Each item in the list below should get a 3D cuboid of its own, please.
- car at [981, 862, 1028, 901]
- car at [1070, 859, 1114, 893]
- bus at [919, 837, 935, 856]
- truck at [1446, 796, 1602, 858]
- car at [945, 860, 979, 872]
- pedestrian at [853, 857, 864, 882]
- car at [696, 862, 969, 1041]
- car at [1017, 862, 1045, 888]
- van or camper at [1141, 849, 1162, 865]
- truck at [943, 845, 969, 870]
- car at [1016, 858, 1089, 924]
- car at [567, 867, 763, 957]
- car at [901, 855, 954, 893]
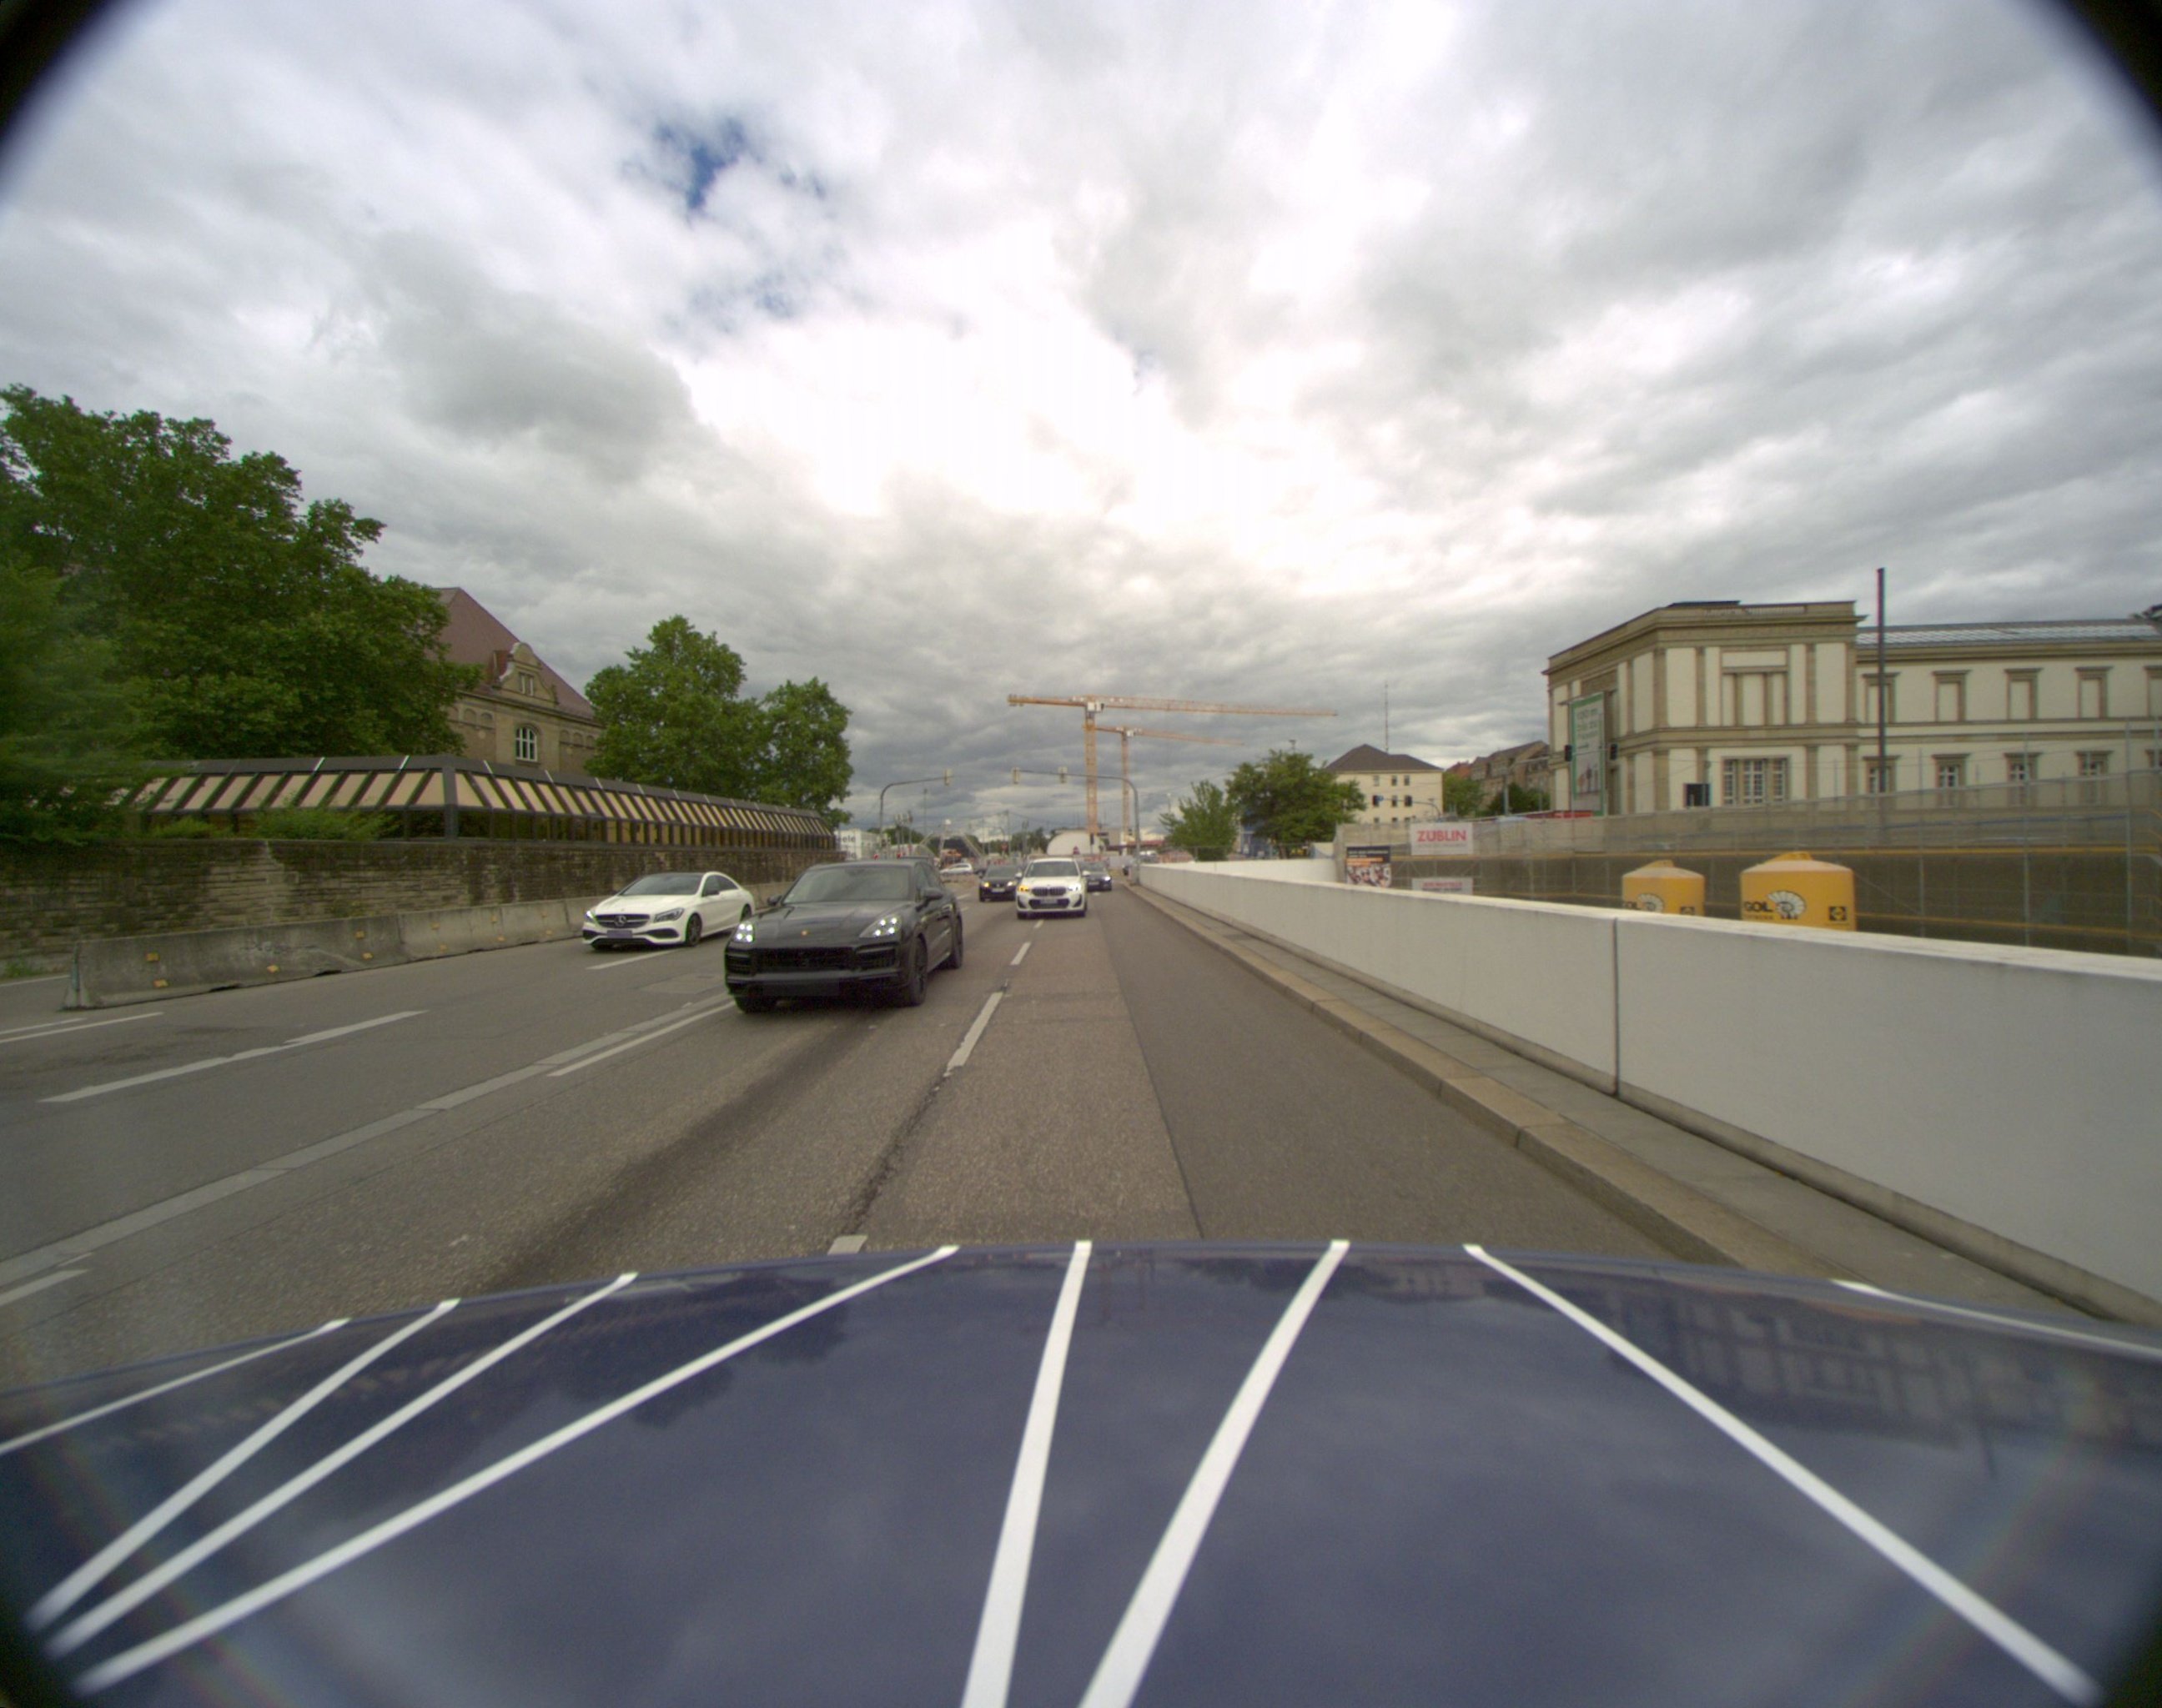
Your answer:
[{"bbox_3d":[-3.148,1.102,31.796,1.733,1.461,4.417,0,0,-3],"label":"car"},{"bbox_3d":[0.569,1.012,35.845,1.852,1.412,4.106,-2,0,3],"label":"car"},{"bbox_3d":[-27.835,-1.307,137.288,2.814,3.150,9.393,-1,-1,-12],"label":"bus"},{"bbox_3d":[33.199,-1.722,58.392,2.924,4.058,16.617,0,0,2],"label":"truck"},{"bbox_3d":[-15.403,1.534,98.483,4.069,1.564,1.692,0,-1,-3],"label":"car"},{"bbox_3d":[-18.043,1.267,61.558,0.623,2.002,0.849,-3,1,-26],"label":"pedestrian"},{"bbox_3d":[-2.756,0.975,9.700,1.956,1.638,4.608,-2,0,-1],"label":"car"},{"bbox_3d":[-2.941,1.229,45.286,1.577,1.411,3.570,0,0,-2],"label":"car"},{"bbox_3d":[10.685,0.435,114.881,1.995,2.214,4.005,-1,2,21],"label":"van or camper"},{"bbox_3d":[-19.224,0.469,116.254,2.913,3.653,9.014,-1,0,-16],"label":"truck"},{"bbox_3d":[-0.748,0.953,21.313,1.812,1.595,3.712,-2,0,-1],"label":"car"},{"bbox_3d":[-8.090,1.041,15.311,1.739,1.427,4.379,0,1,-4],"label":"car"},{"bbox_3d":[-8.281,1.061,41.362,1.937,1.926,3.674,1,0,3],"label":"car"}]
